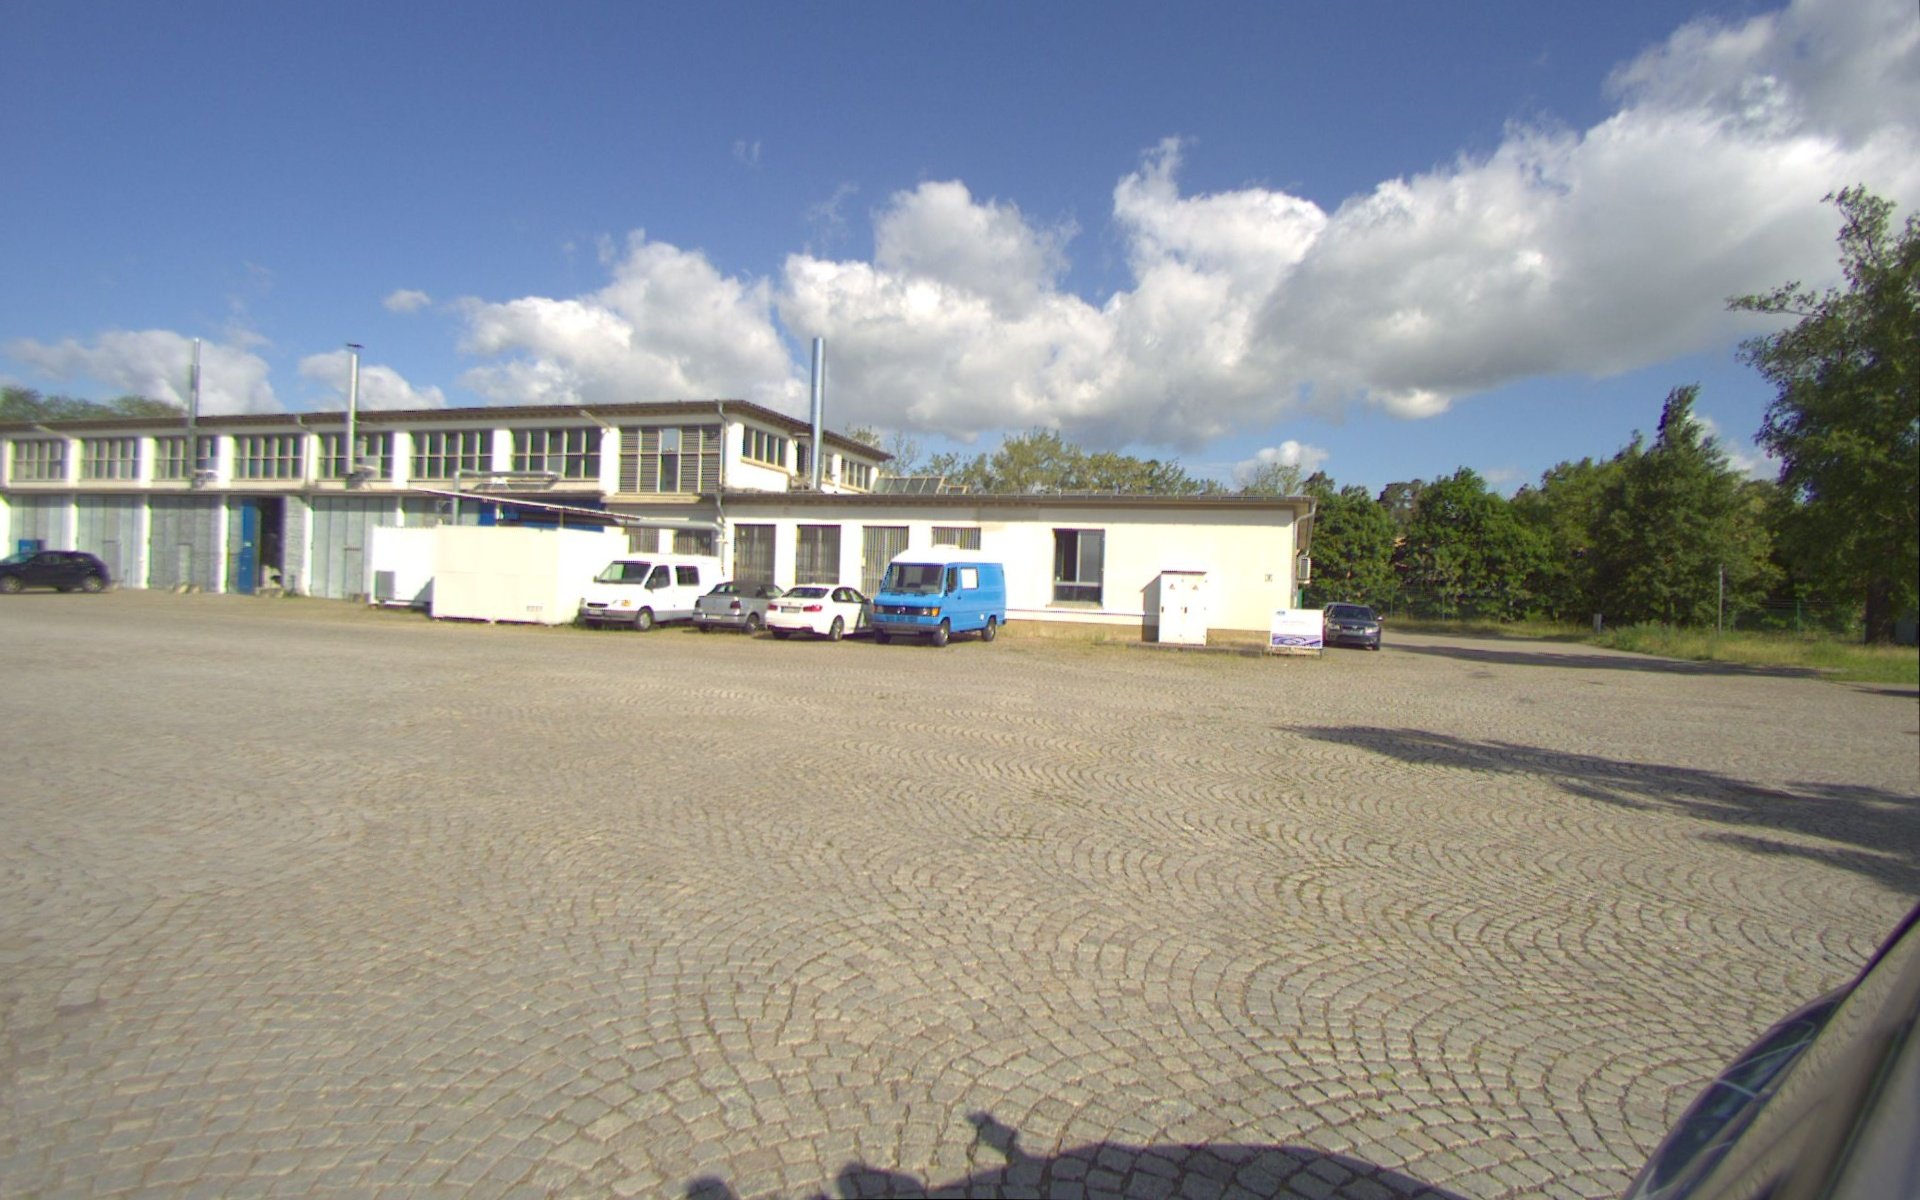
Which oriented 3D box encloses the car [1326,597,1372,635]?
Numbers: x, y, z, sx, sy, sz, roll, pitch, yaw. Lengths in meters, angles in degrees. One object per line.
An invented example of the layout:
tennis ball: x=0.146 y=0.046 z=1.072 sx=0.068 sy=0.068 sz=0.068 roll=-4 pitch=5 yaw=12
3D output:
car: x=16.518 y=0.644 z=43.130 sx=1.671 sy=1.453 sz=3.960 roll=3 pitch=1 yaw=20

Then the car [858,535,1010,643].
car: x=-0.542 y=-0.270 z=26.632 sx=2.065 sy=2.514 sz=5.200 roll=2 pitch=0 yaw=22

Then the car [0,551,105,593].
car: x=-34.512 y=-1.029 z=37.512 sx=1.717 sy=1.488 sz=4.054 roll=2 pitch=1 yaw=17

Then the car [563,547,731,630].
car: x=-8.754 y=-0.344 z=28.749 sx=1.987 sy=2.107 sz=4.770 roll=2 pitch=1 yaw=22

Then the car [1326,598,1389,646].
car: x=13.256 y=0.693 z=33.913 sx=1.747 sy=1.453 sz=3.966 roll=3 pitch=1 yaw=20

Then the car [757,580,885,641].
car: x=-3.537 y=0.216 z=26.409 sx=1.717 sy=1.423 sz=3.712 roll=2 pitch=2 yaw=22

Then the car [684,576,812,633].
car: x=-5.830 y=0.122 z=28.270 sx=1.673 sy=1.416 sz=3.803 roll=3 pitch=1 yaw=21
